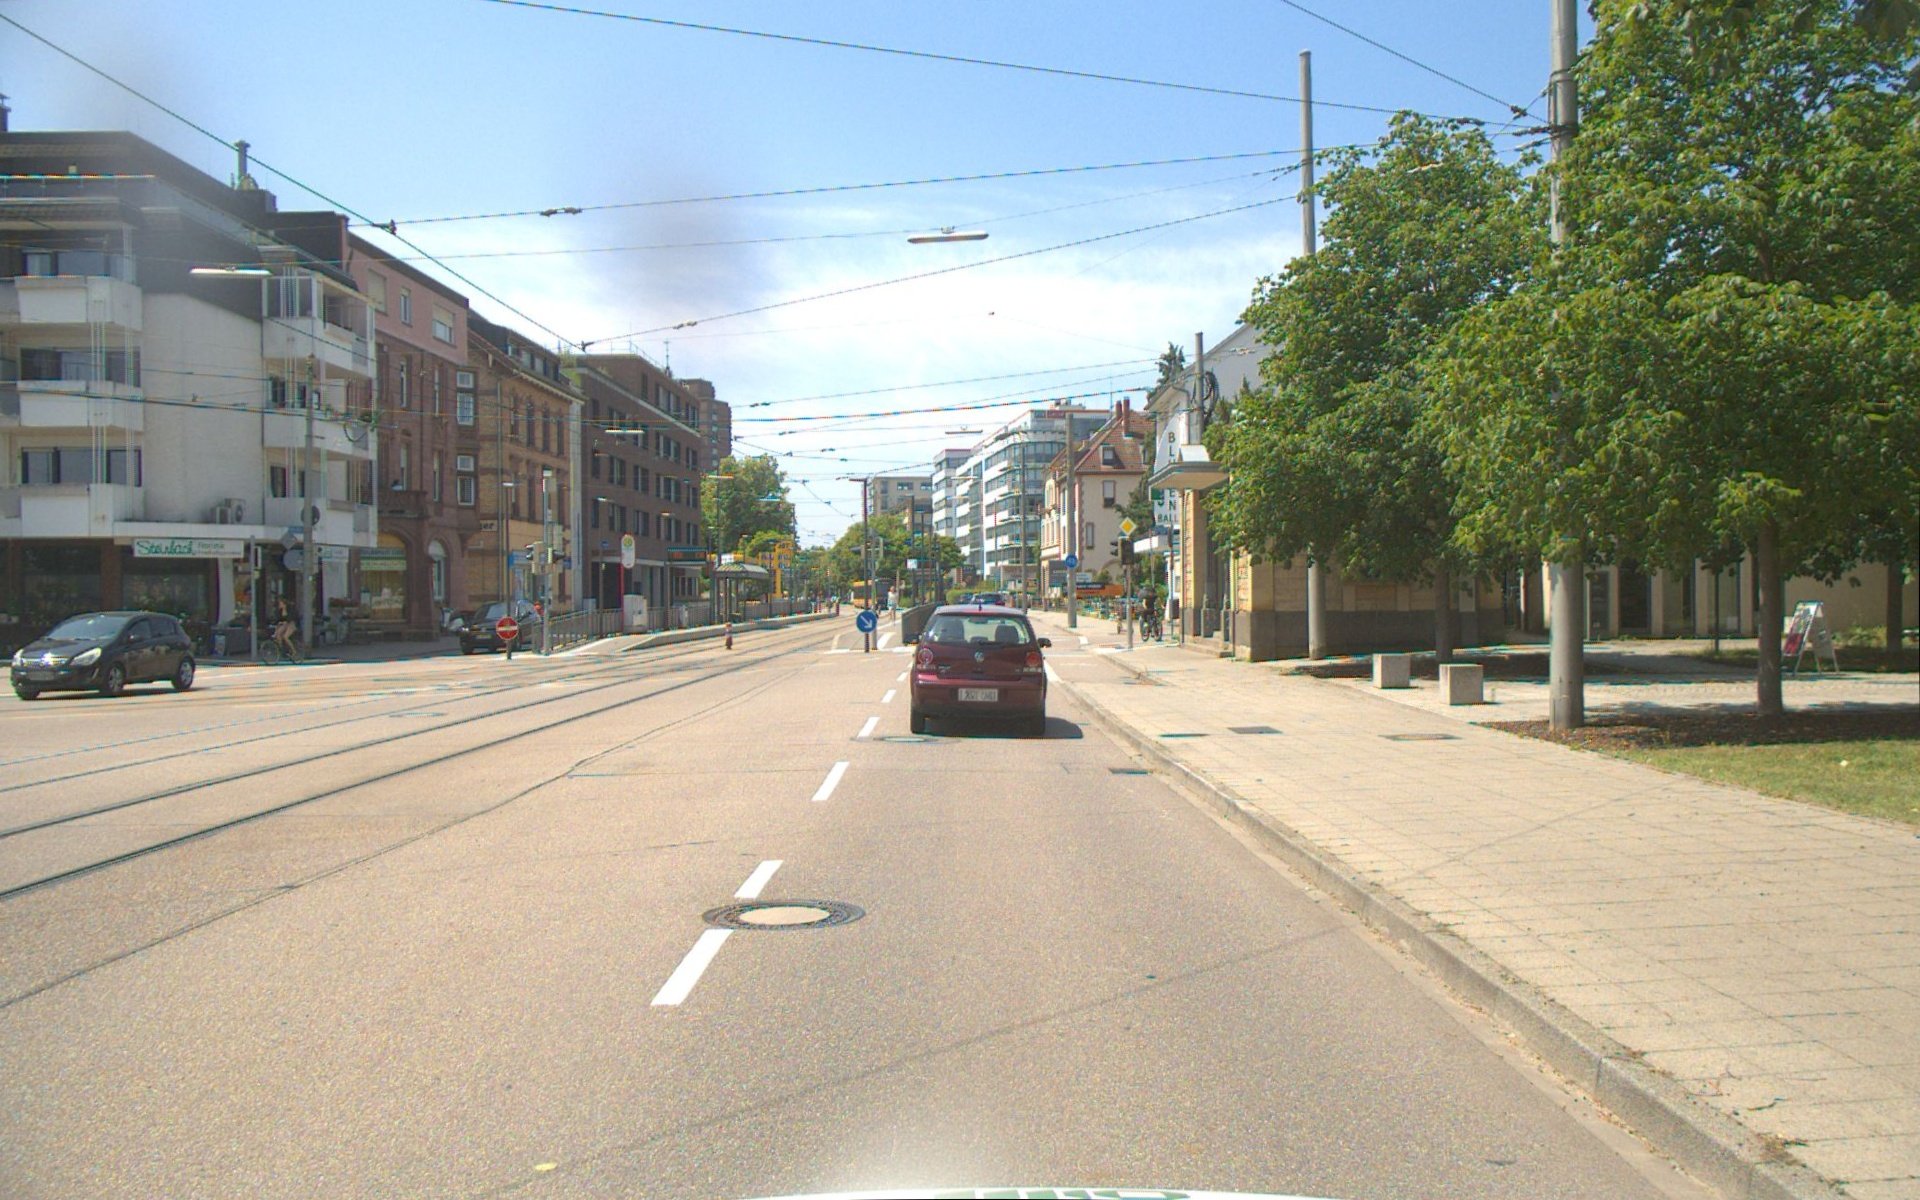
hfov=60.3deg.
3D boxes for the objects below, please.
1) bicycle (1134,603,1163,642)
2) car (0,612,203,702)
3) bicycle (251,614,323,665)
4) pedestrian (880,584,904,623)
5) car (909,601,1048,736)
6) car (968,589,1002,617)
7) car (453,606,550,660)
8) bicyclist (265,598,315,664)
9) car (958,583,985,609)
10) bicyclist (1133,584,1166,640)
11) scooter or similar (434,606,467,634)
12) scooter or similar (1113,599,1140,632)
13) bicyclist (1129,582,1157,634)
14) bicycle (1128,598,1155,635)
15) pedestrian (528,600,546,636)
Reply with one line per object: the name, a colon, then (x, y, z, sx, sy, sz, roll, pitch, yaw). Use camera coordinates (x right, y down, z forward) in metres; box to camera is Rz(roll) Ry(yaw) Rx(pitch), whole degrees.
bicycle: (5.830, 0.685, 51.186, 0.654, 1.019, 1.864, -4, 2, 2)
car: (-15.485, 0.978, 29.951, 1.674, 1.464, 3.866, -1, 0, 2)
bicycle: (-18.436, 1.065, 45.356, 0.662, 1.327, 2.106, -1, 0, 15)
pedestrian: (-3.038, 0.153, 74.004, 0.747, 1.704, 1.101, -1, 0, 14)
car: (0.205, 0.762, 20.006, 1.529, 1.479, 3.061, -1, 0, 0)
car: (1.500, 0.162, 100.455, 1.953, 1.653, 4.631, -1, 0, 0)
car: (-15.063, 1.053, 54.540, 1.756, 1.607, 4.496, -1, 0, 2)
bicyclist: (-18.413, 0.842, 45.472, 0.716, 1.793, 1.136, -1, 0, 15)
car: (0.862, -0.302, 126.273, 1.953, 1.881, 4.000, -1, 0, 0)
bicyclist: (5.861, 0.366, 51.136, 0.815, 1.645, 0.860, -4, 2, 1)
scooter or similar: (-20.998, 0.808, 68.185, 0.477, 1.101, 1.578, -1, 0, 17)
scooter or similar: (6.051, 0.558, 60.175, 0.334, 1.198, 1.457, -1, 0, -23)
bicyclist: (6.381, 0.268, 57.623, 0.712, 1.791, 0.923, -1, 0, 24)
bicycle: (6.312, 0.567, 57.531, 0.368, 1.218, 1.904, -2, 0, 23)
pedestrian: (-19.336, 0.823, 75.635, 0.602, 1.588, 0.640, -1, 0, 0)
